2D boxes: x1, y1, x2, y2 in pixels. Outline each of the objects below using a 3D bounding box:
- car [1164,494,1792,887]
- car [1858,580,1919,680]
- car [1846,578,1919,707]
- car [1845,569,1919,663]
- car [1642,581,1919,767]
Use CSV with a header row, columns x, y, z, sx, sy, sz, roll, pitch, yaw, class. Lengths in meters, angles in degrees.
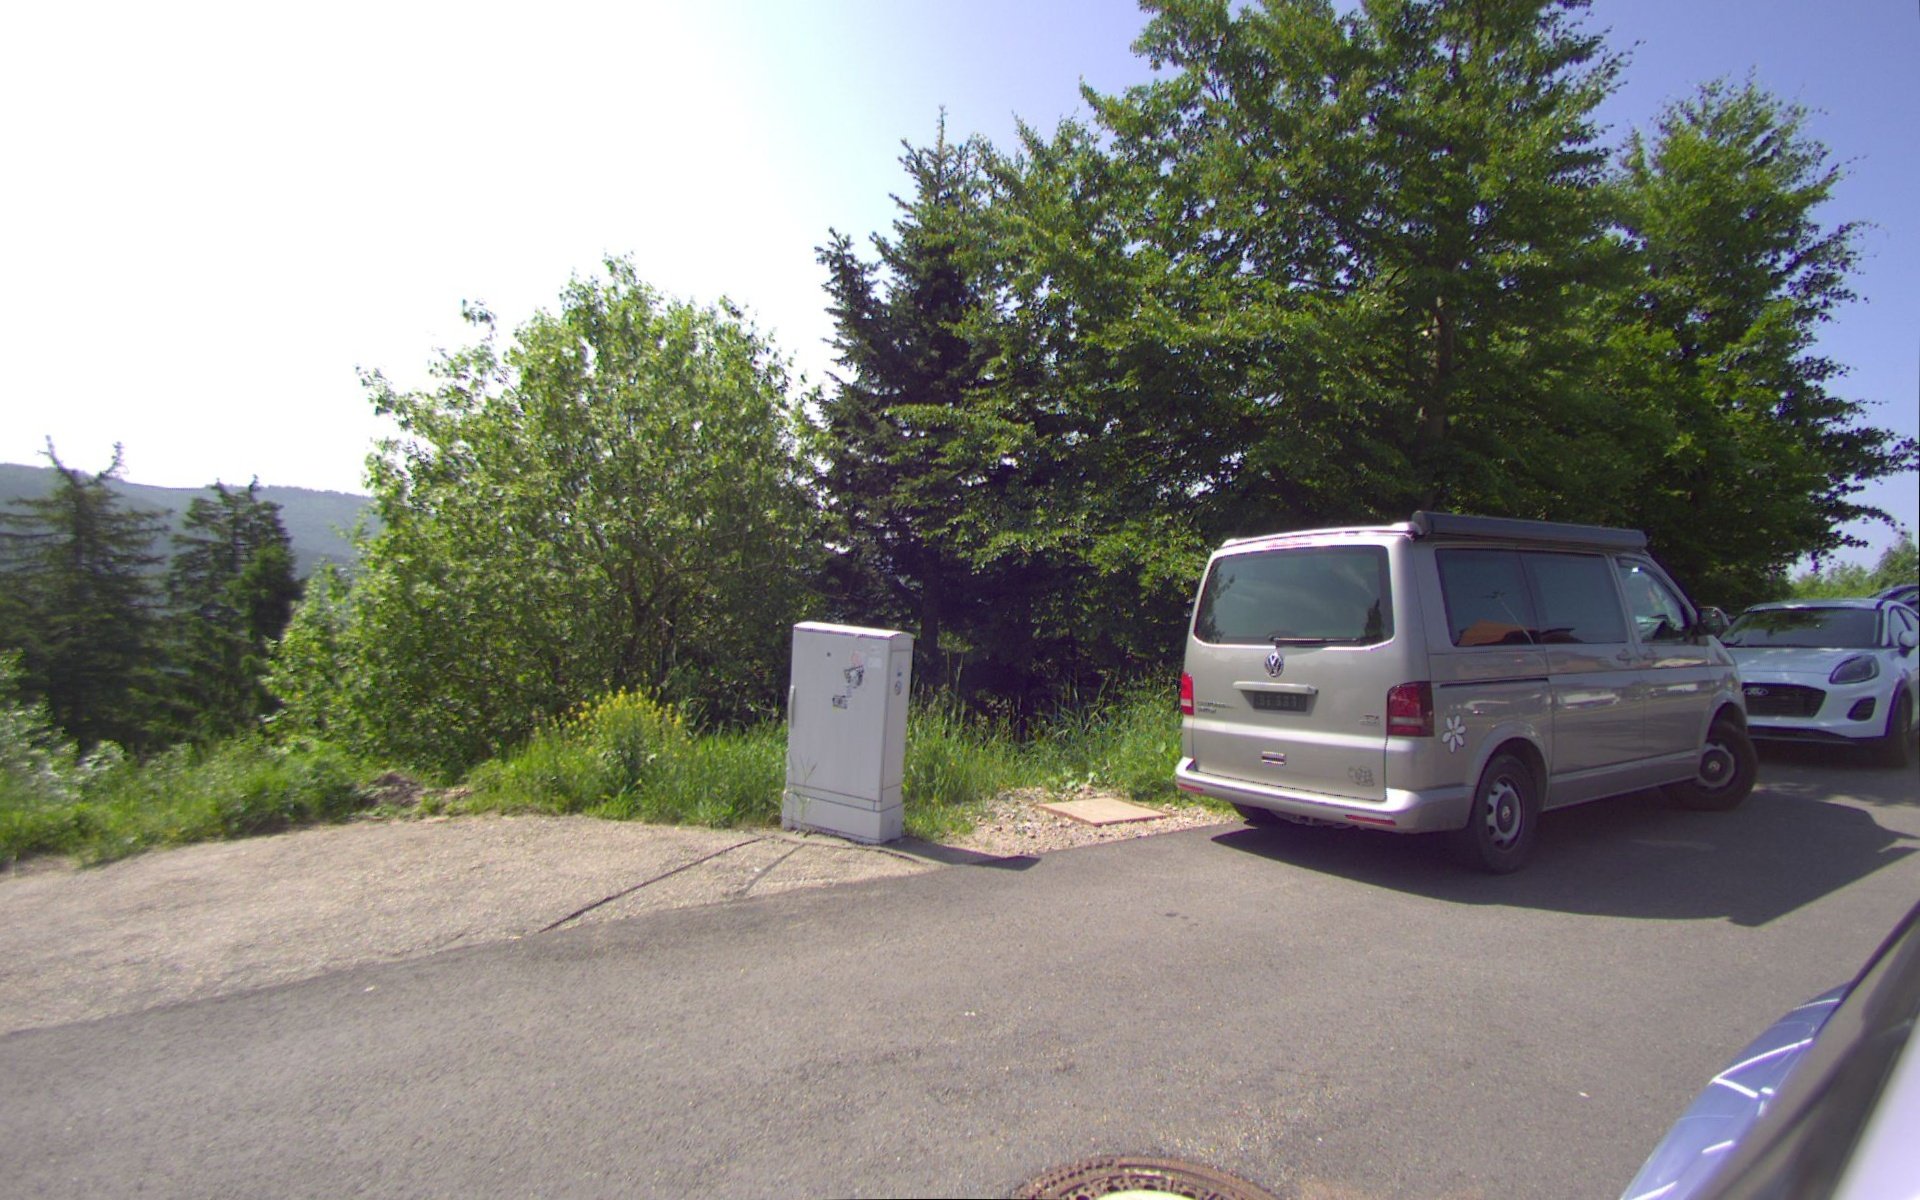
x,y,z,sx,sy,sz,roll,pitch,yaw,class
3.742,0.478,7.065,4.519,1.961,1.863,1,-1,-33,car
17.435,0.487,16.472,3.974,1.639,1.852,-1,-1,36,car
13.903,0.549,13.847,3.925,1.639,1.875,0,-1,-37,car
21.512,0.332,21.063,4.431,1.950,1.852,-1,-1,36,car
8.900,0.637,10.444,3.925,1.567,1.875,0,-1,-37,car
